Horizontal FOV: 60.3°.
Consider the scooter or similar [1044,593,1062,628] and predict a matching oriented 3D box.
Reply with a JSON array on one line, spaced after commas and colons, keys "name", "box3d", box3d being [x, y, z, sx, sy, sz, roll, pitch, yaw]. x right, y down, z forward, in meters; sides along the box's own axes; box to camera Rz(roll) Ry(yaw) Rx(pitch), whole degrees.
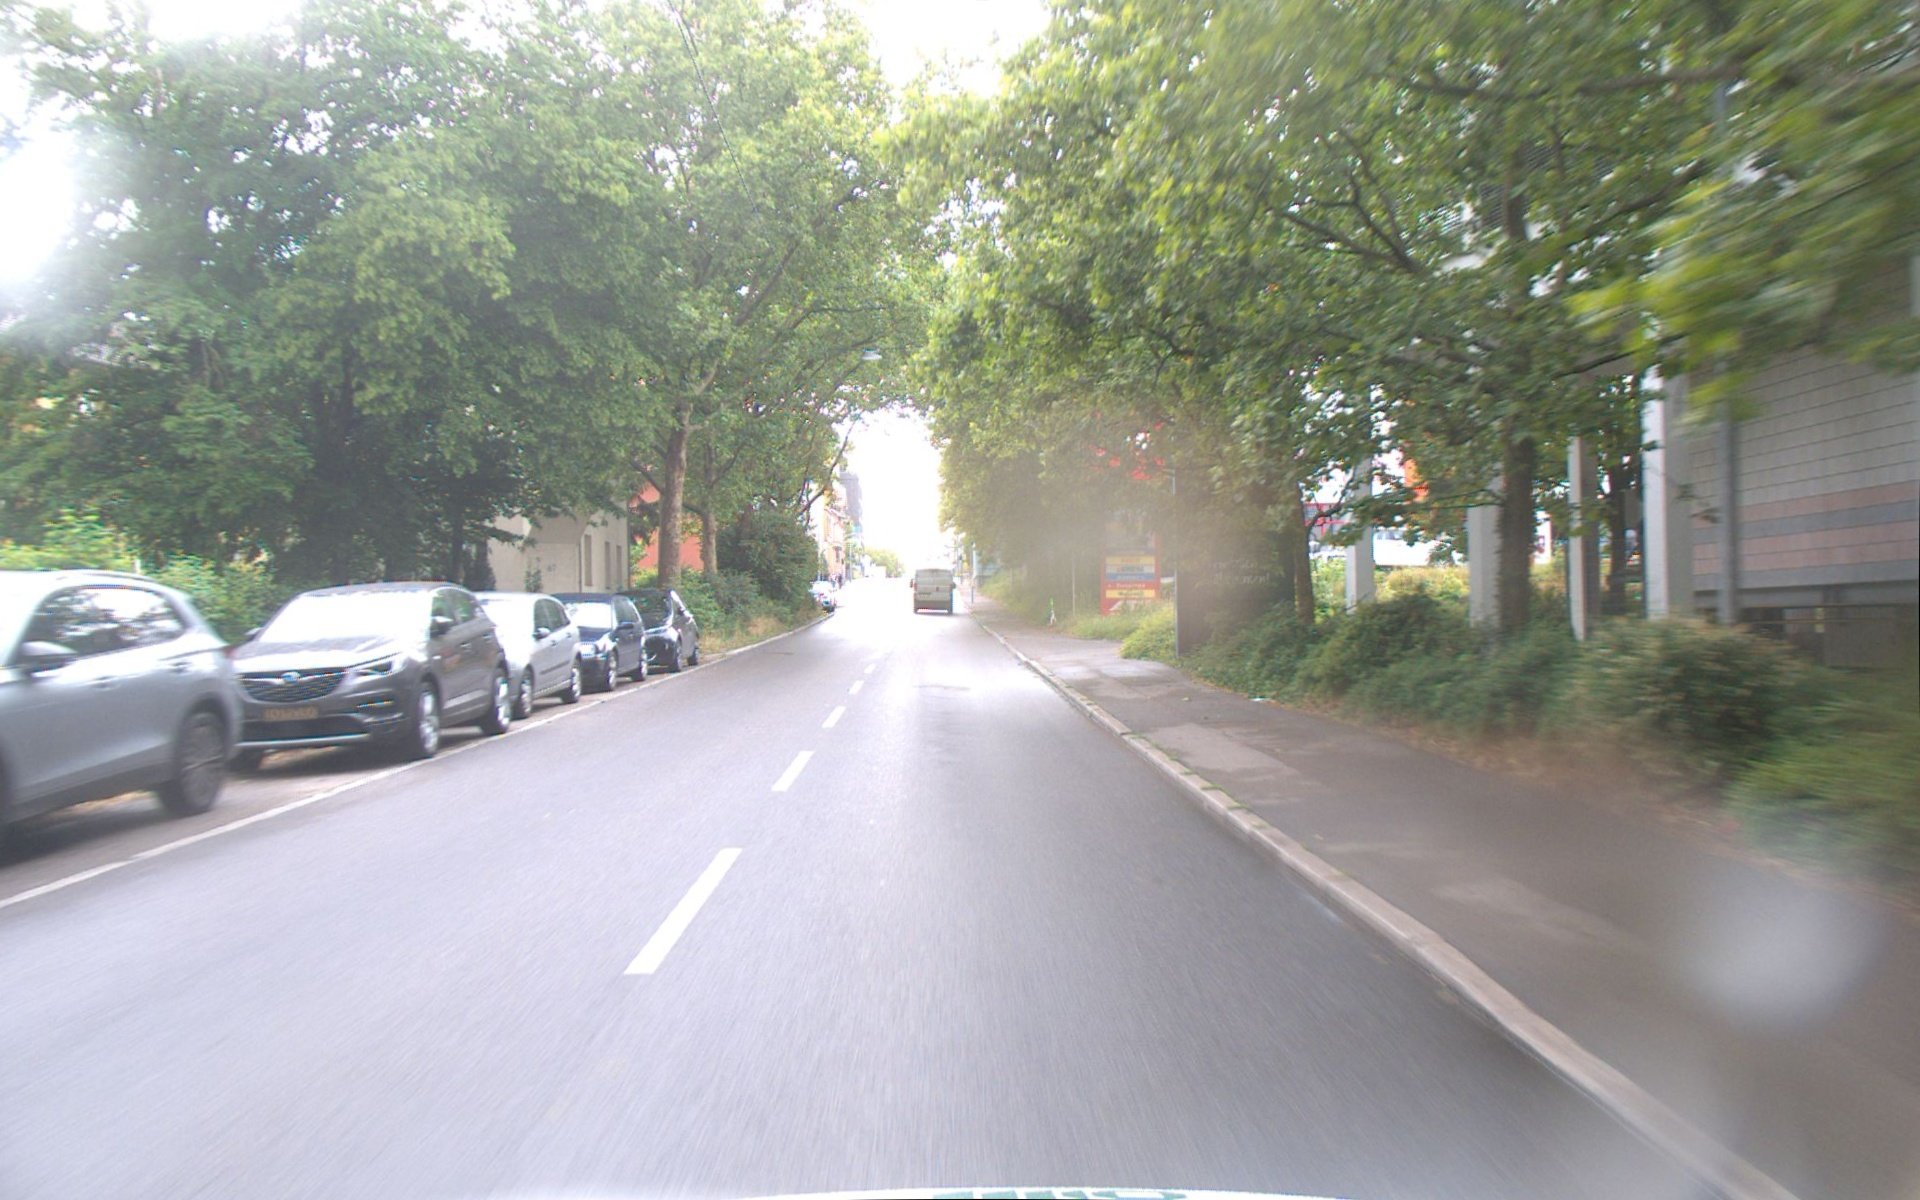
[{"name": "scooter or similar", "box3d": [3.191, 0.367, 56.890, 0.417, 1.162, 1.528, 1, -2, -3]}]

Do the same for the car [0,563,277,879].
[{"name": "car", "box3d": [-6.000, 0.690, 10.033, 1.699, 1.686, 4.564, -4, 1, 0]}]

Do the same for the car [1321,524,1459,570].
[{"name": "car", "box3d": [13.999, -1.720, 53.962, 4.017, 1.400, 1.902, 0, 0, -1]}]

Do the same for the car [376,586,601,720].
[{"name": "car", "box3d": [-5.883, 0.601, 21.125, 1.638, 1.534, 4.123, 1, 0, 0]}]

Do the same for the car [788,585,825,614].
[{"name": "car", "box3d": [-7.482, -0.050, 80.690, 1.606, 1.397, 3.757, 0, 1, -3]}]

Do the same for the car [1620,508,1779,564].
[{"name": "car", "box3d": [25.607, -2.211, 57.353, 4.675, 1.814, 1.913, -1, 0, -5]}]

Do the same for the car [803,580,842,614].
[{"name": "car", "box3d": [-7.162, -0.191, 86.182, 1.657, 1.568, 4.117, -3, 2, -1]}]

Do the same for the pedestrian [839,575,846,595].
[{"name": "pedestrian", "box3d": [-12.505, -1.607, 176.274, 0.657, 2.049, 0.942, 0, 0, 3]}]

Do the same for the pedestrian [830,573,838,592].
[{"name": "pedestrian", "box3d": [-13.401, -1.852, 176.180, 0.657, 2.049, 0.942, 0, 0, 3]}]

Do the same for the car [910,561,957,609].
[{"name": "car", "box3d": [-1.329, -0.731, 83.534, 2.288, 2.270, 3.999, -2, -1, -1]}]

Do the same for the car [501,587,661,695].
[{"name": "car", "box3d": [-5.901, 0.587, 26.182, 1.638, 1.534, 3.873, -2, 0, -1]}]

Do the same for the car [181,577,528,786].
[{"name": "car", "box3d": [-5.538, 0.658, 15.753, 1.827, 1.619, 4.237, -3, 0, -3]}]

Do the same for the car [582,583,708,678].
[{"name": "car", "box3d": [-5.944, 0.538, 31.610, 1.615, 1.564, 4.017, -4, 0, -2]}]
